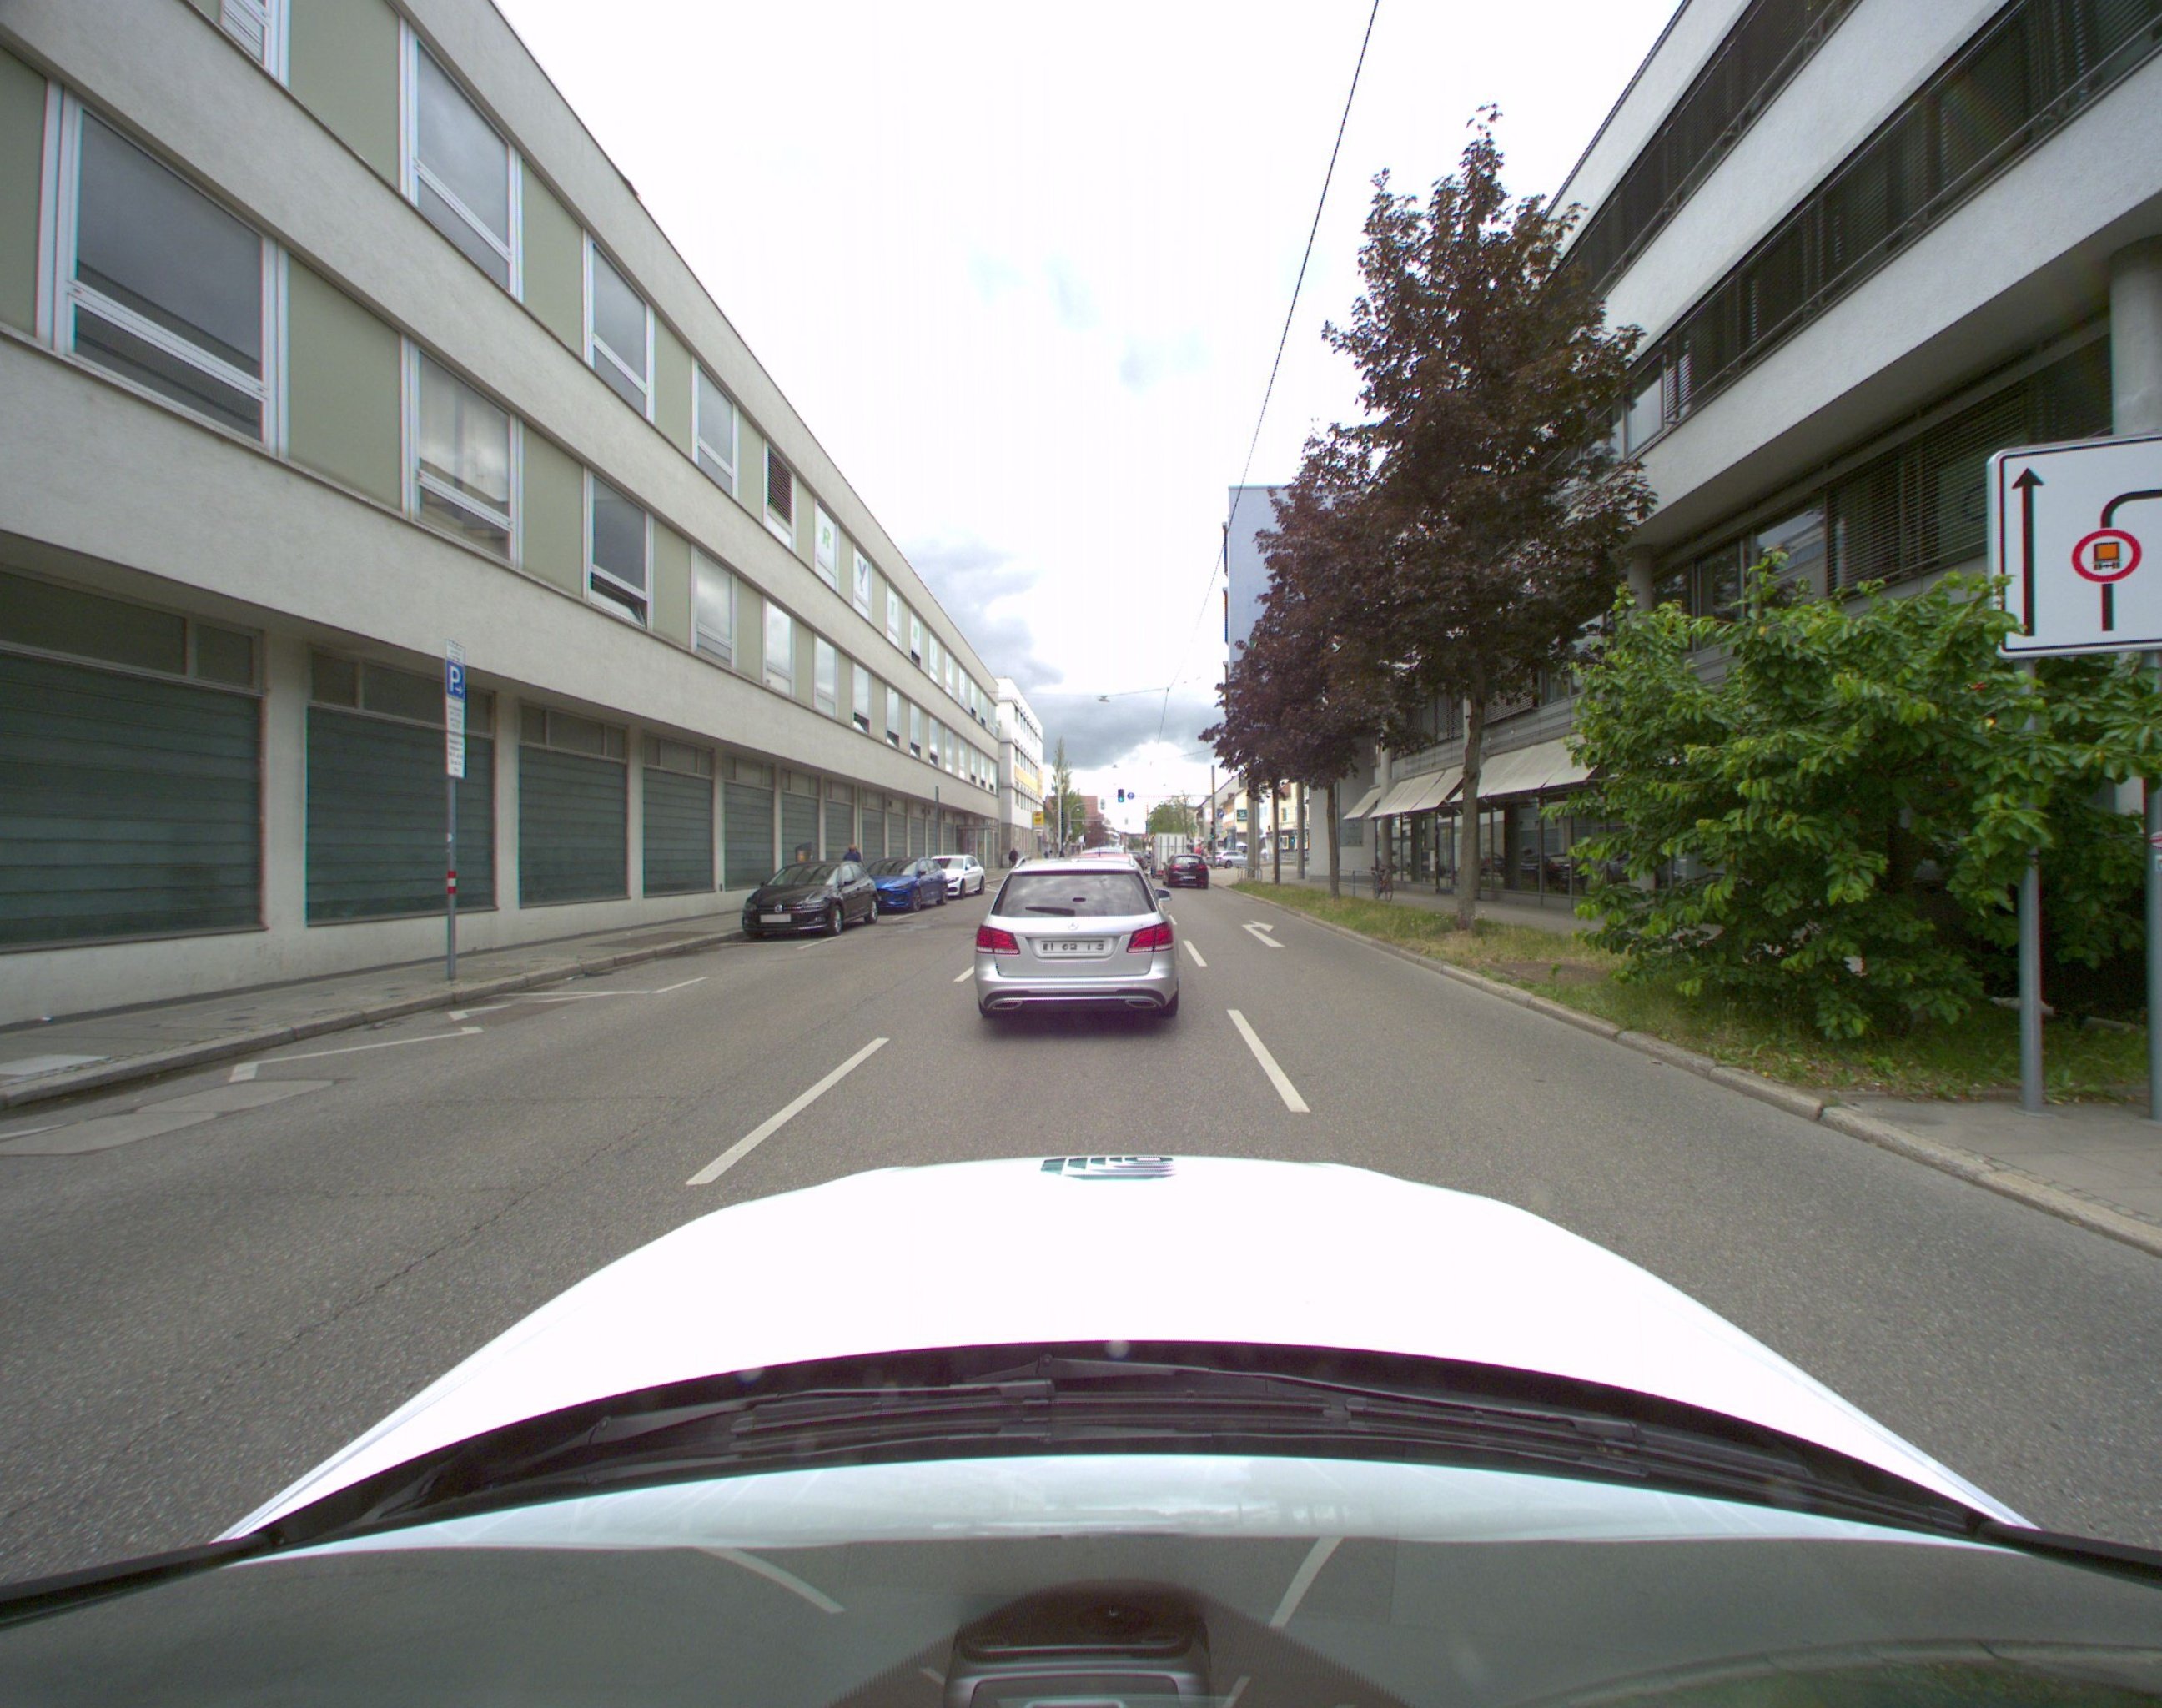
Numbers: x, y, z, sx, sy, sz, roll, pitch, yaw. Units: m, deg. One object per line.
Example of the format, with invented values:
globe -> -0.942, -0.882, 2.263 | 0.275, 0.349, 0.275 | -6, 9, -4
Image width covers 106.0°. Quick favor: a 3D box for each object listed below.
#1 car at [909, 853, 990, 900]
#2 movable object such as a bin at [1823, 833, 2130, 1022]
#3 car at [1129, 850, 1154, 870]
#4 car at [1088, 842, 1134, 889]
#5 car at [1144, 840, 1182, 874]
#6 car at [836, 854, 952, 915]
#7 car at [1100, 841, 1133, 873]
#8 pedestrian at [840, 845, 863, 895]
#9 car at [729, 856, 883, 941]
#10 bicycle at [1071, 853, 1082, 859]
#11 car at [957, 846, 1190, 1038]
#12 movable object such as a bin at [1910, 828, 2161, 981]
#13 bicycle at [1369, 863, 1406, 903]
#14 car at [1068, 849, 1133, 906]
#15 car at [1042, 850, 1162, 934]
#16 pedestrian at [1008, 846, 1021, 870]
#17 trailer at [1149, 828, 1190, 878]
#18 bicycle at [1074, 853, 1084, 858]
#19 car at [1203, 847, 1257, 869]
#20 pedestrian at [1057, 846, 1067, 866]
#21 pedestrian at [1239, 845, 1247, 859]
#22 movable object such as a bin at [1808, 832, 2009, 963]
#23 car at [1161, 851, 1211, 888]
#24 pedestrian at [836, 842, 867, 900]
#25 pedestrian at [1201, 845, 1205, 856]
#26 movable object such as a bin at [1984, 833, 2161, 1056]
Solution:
car -> -4.477, 0.724, 28.407 | 1.662, 1.434, 4.559 | -2, 0, 5
movable object such as a bin -> 7.759, 0.586, 7.181 | 1.123, 1.465, 1.413 | -2, 0, 1
car -> 4.608, 0.426, 62.731 | 1.728, 1.410, 4.001 | -1, 1, 1
car -> 1.203, 0.435, 33.212 | 1.728, 1.759, 4.001 | -1, 0, 1
car -> 5.001, 0.170, 50.177 | 1.871, 1.945, 4.907 | 2, 0, 1
car -> -4.993, 0.770, 22.396 | 1.806, 1.426, 4.270 | -2, 0, 5
car -> 2.058, 0.163, 47.815 | 1.821, 1.785, 4.002 | -1, 0, 2
pedestrian -> -7.927, 0.547, 28.127 | 0.587, 1.718, 0.650 | -1, 0, 1
car -> -5.447, 0.812, 16.682 | 1.710, 1.425, 3.871 | -2, 0, 1
bicycle -> -0.891, 0.314, 149.657 | 1.935, 1.029, 0.529 | 1, 0, -7
car -> -0.008, 0.691, 8.569 | 1.839, 1.508, 4.172 | -1, 0, 1
movable object such as a bin -> 10.087, 0.496, 8.676 | 1.118, 1.465, 1.333 | -2, 0, 1
bicycle -> 8.973, 0.816, 23.873 | 0.359, 1.086, 2.028 | 1, 0, 1
car -> 0.583, 0.613, 23.911 | 1.728, 1.508, 4.001 | -1, 0, 1
car -> 0.564, 0.674, 16.628 | 1.723, 1.508, 4.013 | -1, 0, 12
pedestrian -> -4.774, 0.278, 58.547 | 0.858, 1.718, 1.032 | 1, 0, 1
trailer -> 4.887, -0.070, 45.564 | 1.871, 2.613, 4.324 | 2, 0, 1
bicycle -> -0.347, 0.309, 153.623 | 1.935, 1.029, 0.529 | 1, 0, -7
car -> 12.246, 0.341, 66.717 | 4.582, 1.605, 1.720 | 2, 0, -39
pedestrian -> -1.633, 0.155, 70.208 | 0.643, 1.718, 0.785 | 1, 0, 10
pedestrian -> 20.308, -0.233, 102.047 | 0.641, 1.718, 0.709 | -1, 0, 38
movable object such as a bin -> 10.120, 0.497, 10.037 | 1.094, 1.465, 1.333 | -2, 0, 1
car -> 4.417, 0.624, 34.725 | 1.728, 1.410, 4.001 | -1, 1, 1
pedestrian -> -6.852, 0.495, 24.383 | 0.587, 1.718, 1.055 | -1, 0, 1
pedestrian -> 19.693, -0.572, 131.223 | 0.576, 1.666, 0.650 | 1, 0, -4
movable object such as a bin -> 7.742, 0.593, 5.808 | 1.094, 1.465, 1.333 | -2, 0, 1
